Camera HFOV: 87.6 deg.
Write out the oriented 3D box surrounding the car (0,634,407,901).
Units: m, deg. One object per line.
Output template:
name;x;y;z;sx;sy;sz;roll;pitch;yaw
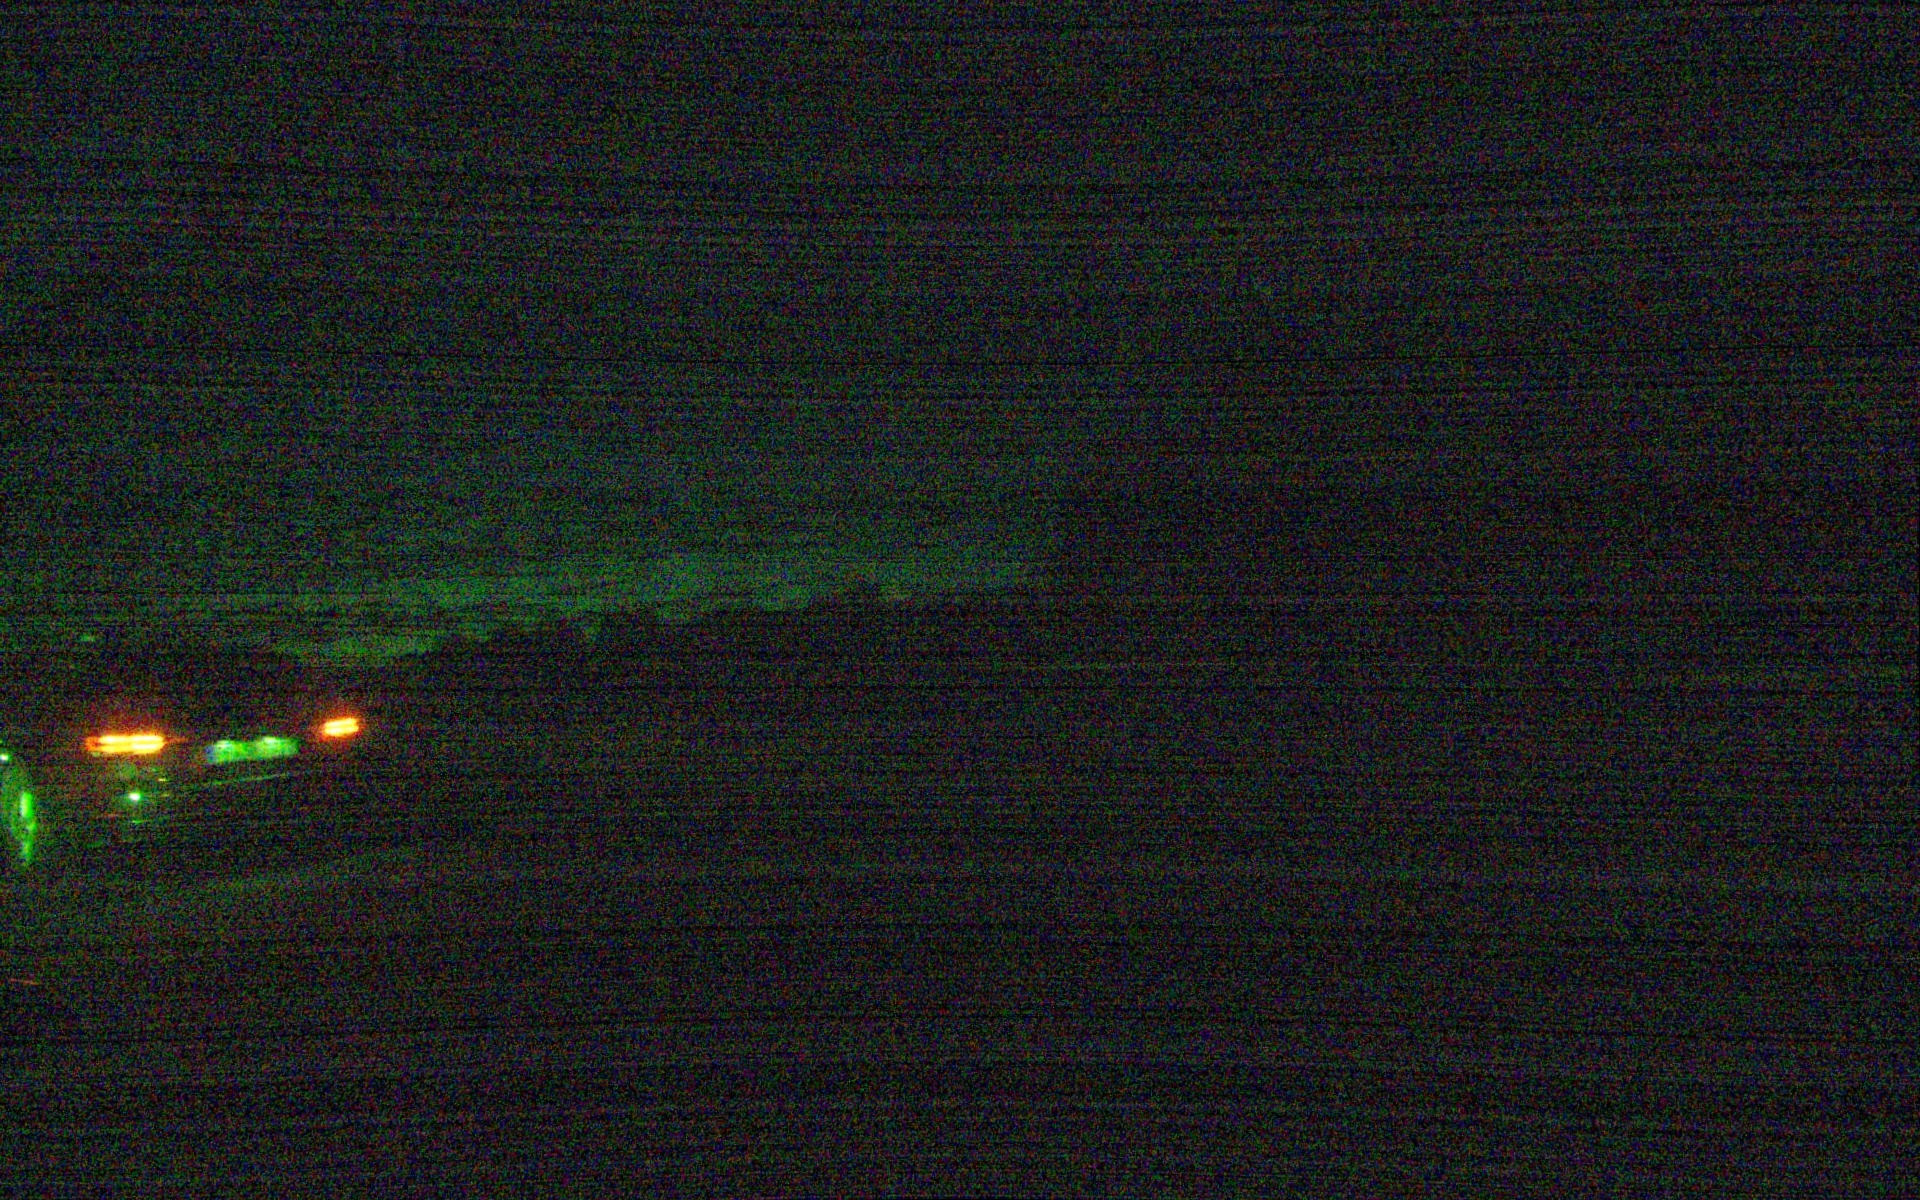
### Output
car;-6.425;0.999;7.530;4.803;1.445;1.805;-1;-1;31
